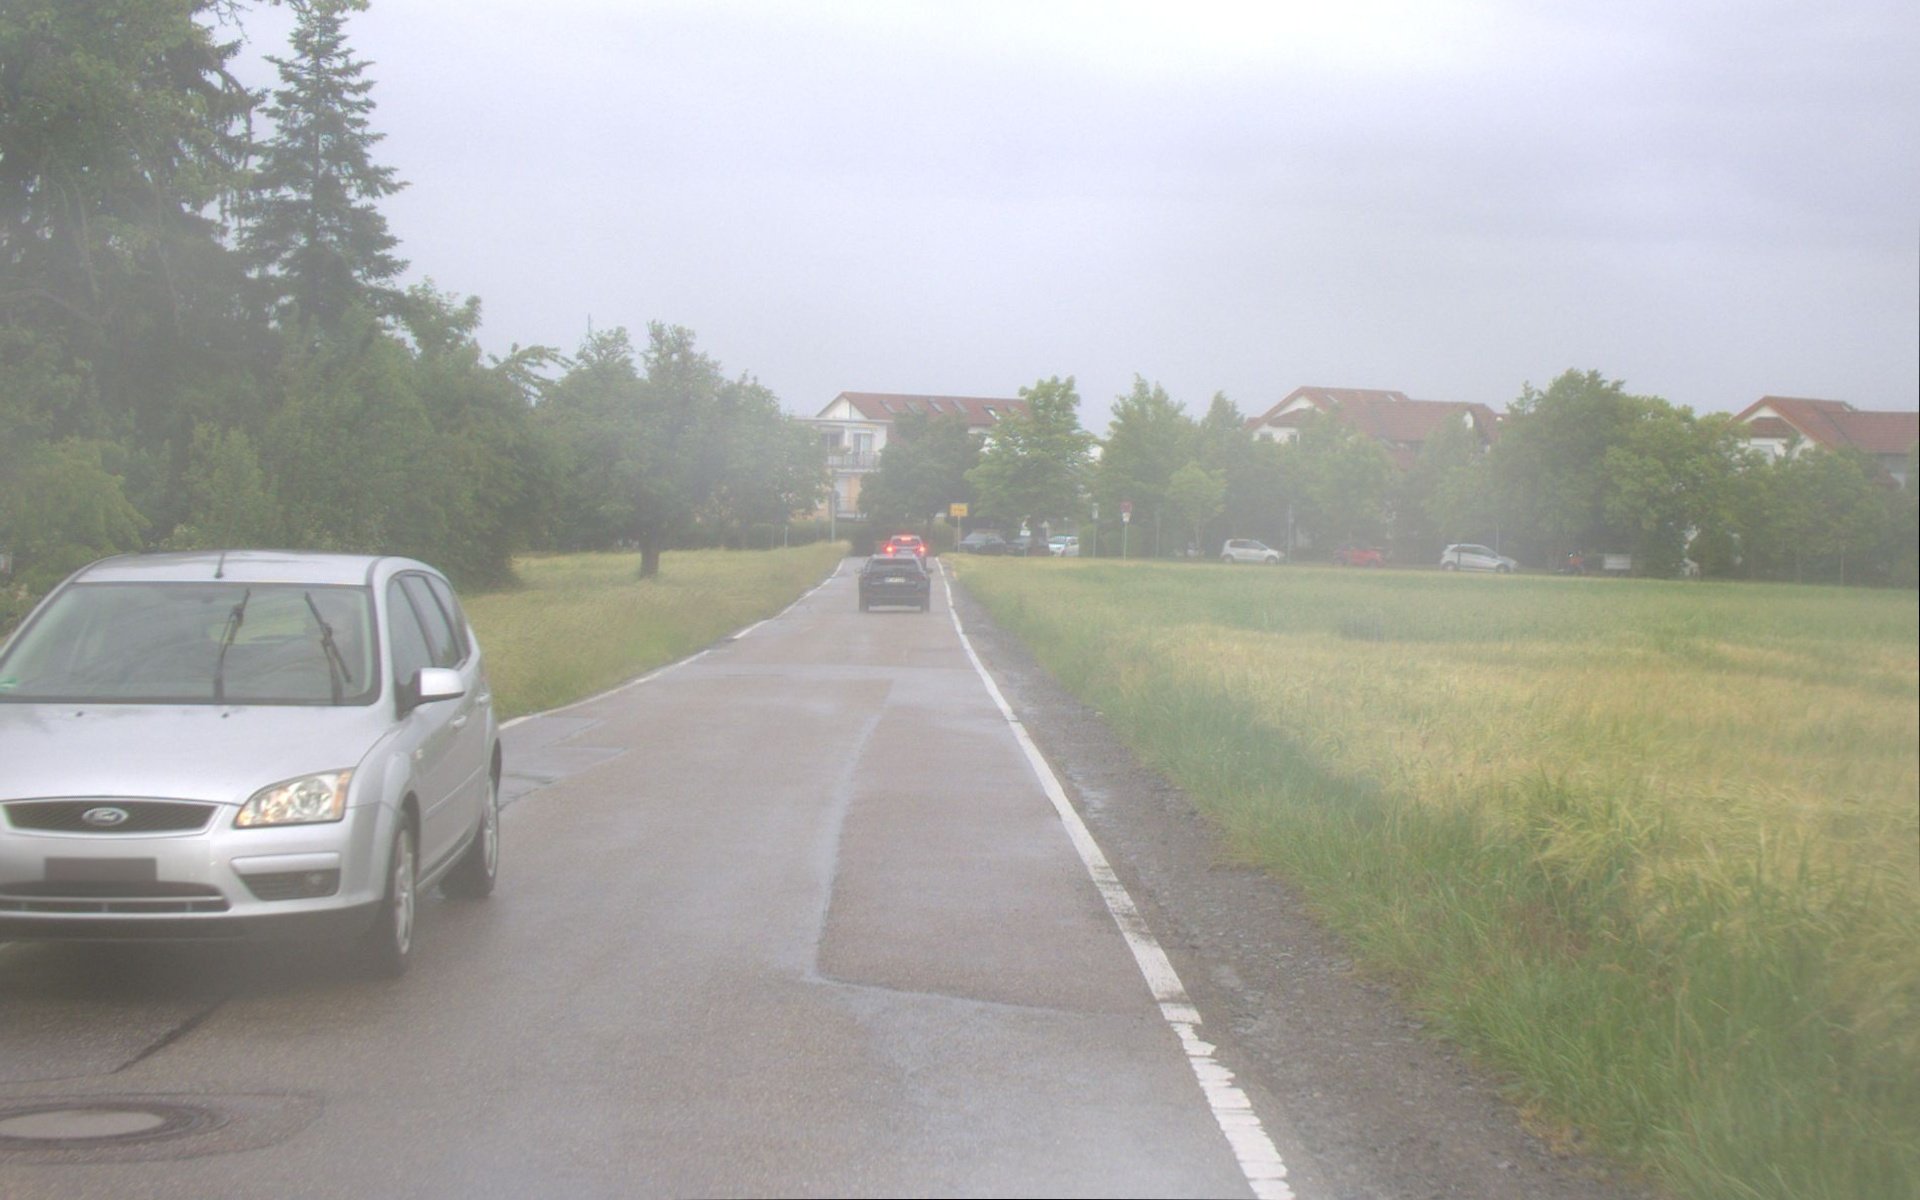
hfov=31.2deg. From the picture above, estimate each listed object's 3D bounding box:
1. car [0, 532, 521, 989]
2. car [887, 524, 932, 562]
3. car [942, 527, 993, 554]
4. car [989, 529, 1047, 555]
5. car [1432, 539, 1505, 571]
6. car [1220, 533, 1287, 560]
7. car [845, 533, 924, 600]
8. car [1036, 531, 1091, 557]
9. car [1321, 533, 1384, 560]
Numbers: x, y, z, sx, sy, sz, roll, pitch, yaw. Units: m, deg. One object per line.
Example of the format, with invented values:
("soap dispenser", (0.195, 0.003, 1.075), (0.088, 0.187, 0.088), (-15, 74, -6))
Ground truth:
("car", (-2.806, 0.520, 13.323), (1.739, 1.466, 4.123), (2, 0, -1))
("car", (-2.207, -2.491, 150.880), (1.814, 1.588, 4.000), (1, 0, 0))
("car", (0.500, -3.719, 214.077), (1.663, 1.541, 3.995), (1, 0, 24))
("car", (3.723, -3.688, 220.006), (1.664, 1.541, 3.992), (1, 0, 35))
("car", (27.150, -2.399, 183.430), (3.711, 1.558, 1.609), (2, 0, 13))
("car", (15.868, -2.901, 186.064), (3.392, 1.366, 1.547), (2, 0, 13))
("car", (-1.868, -0.823, 85.899), (1.814, 1.588, 4.000), (1, 0, 0))
("car", (6.753, -3.664, 224.251), (1.664, 1.541, 3.992), (1, 0, 35))
("car", (21.121, -2.875, 184.963), (3.194, 1.366, 1.571), (2, 0, 13))
